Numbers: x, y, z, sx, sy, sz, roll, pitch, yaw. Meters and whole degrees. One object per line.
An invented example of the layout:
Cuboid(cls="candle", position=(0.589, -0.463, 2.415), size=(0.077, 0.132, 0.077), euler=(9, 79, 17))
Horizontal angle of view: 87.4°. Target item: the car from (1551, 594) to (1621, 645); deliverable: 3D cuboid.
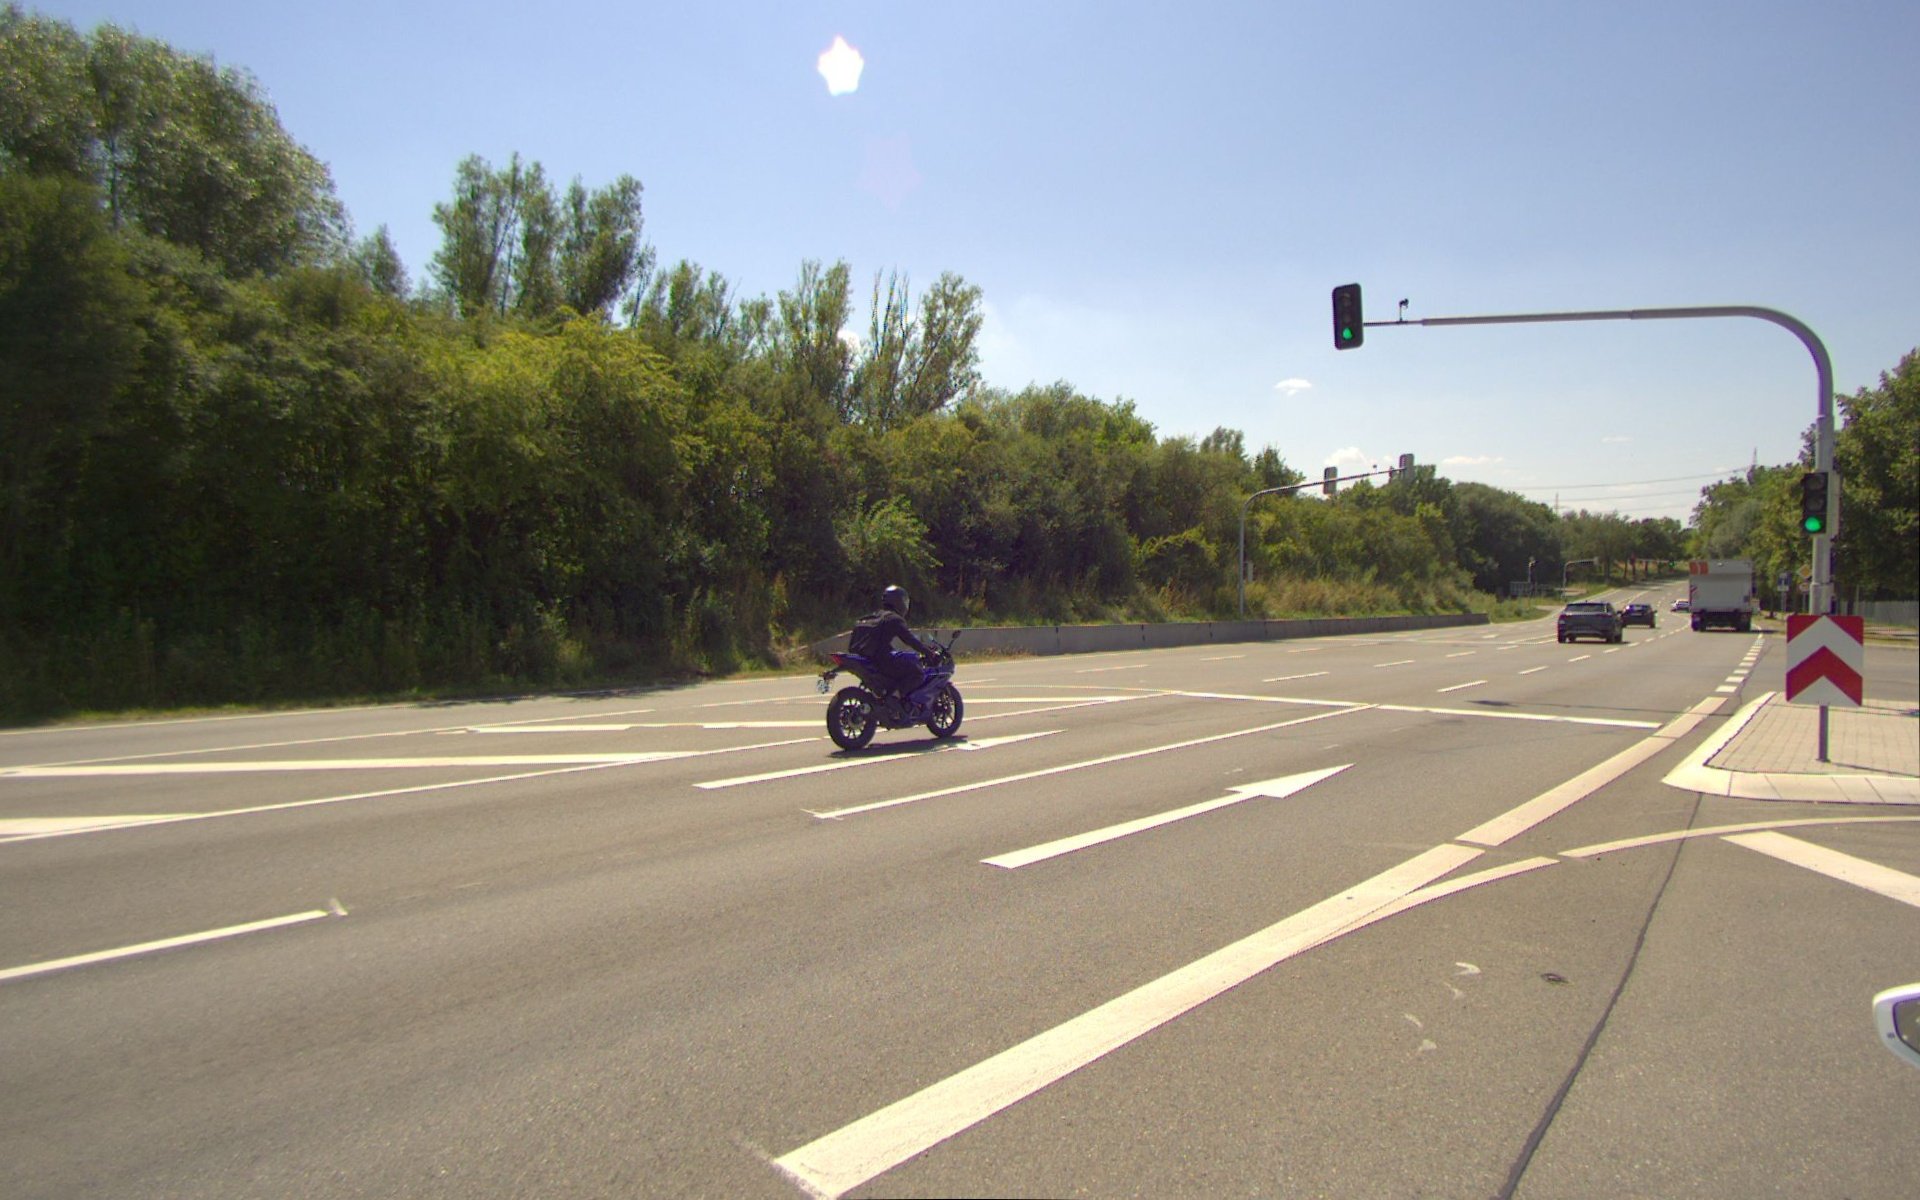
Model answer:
Cuboid(cls="car", position=(23.672, 0.737, 37.942), size=(1.967, 1.773, 3.986), euler=(1, -1, 36))

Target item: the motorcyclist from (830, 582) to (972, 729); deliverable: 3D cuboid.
Cuboid(cls="motorcyclist", position=(-0.611, 0.549, 10.431), size=(1.166, 1.431, 0.865), euler=(2, -1, -40))

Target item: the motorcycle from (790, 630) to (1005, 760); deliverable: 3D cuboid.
Cuboid(cls="motorcycle", position=(-0.607, 0.918, 10.427), size=(2.152, 1.157, 0.853), euler=(0, 1, -40))

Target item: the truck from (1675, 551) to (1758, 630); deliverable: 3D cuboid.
Cuboid(cls="truck", position=(39.551, -0.406, 52.482), size=(3.226, 3.891, 6.177), euler=(1, -1, 38))

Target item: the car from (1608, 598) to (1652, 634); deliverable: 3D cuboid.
Cuboid(cls="car", position=(40.075, 0.991, 60.061), size=(1.968, 2.040, 3.986), euler=(1, -1, 36))
